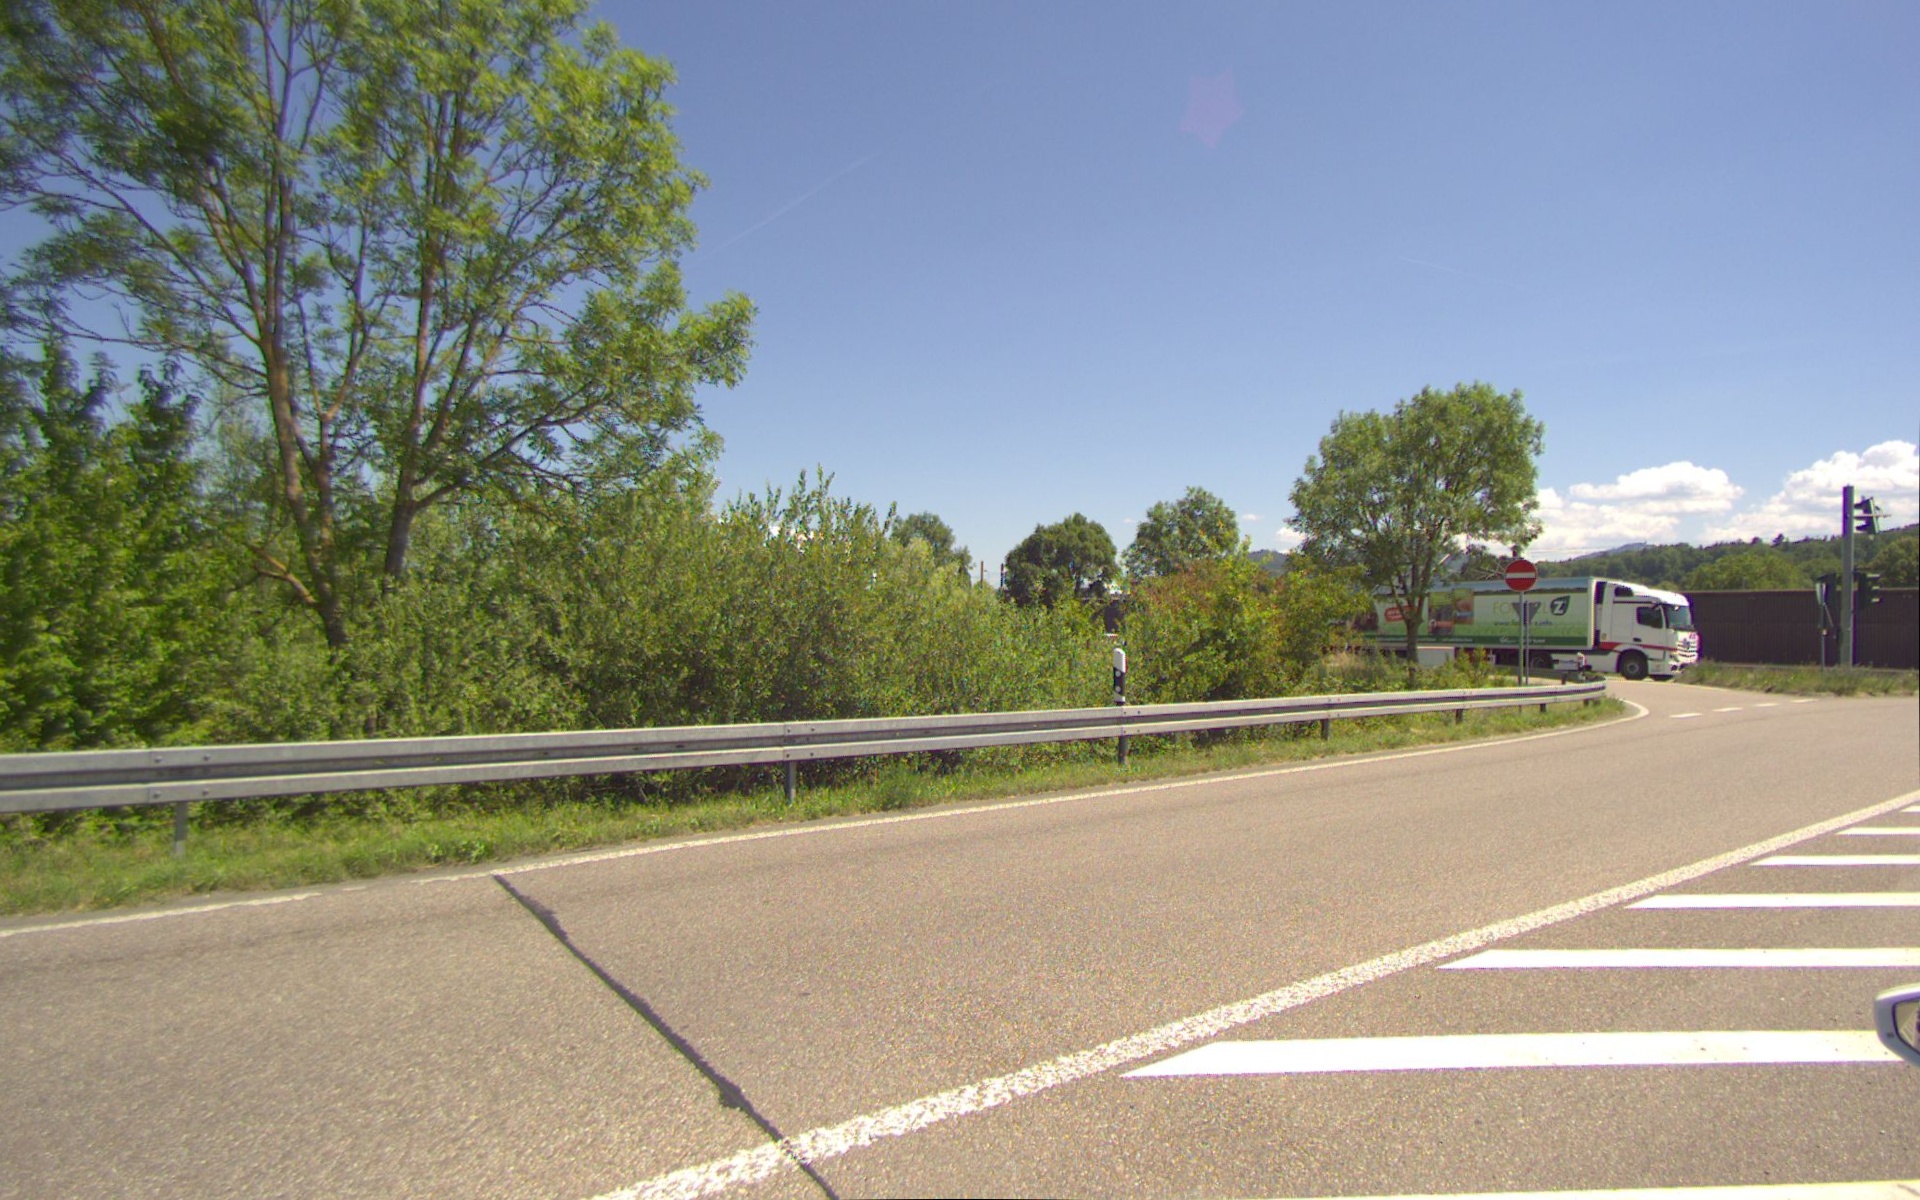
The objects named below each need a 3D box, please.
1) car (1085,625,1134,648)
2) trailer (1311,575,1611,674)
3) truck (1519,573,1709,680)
[{"bbox_3d":[10.359,2.518,69.670,1.537,1.484,3.455,2,-1,-31],"label":"car"},{"bbox_3d":[22.817,1.050,47.183,3.027,4.007,13.074,2,-1,-31],"label":"trailer"},{"bbox_3d":[26.511,1.046,40.950,3.027,4.007,5.736,2,-1,-31],"label":"truck"}]
